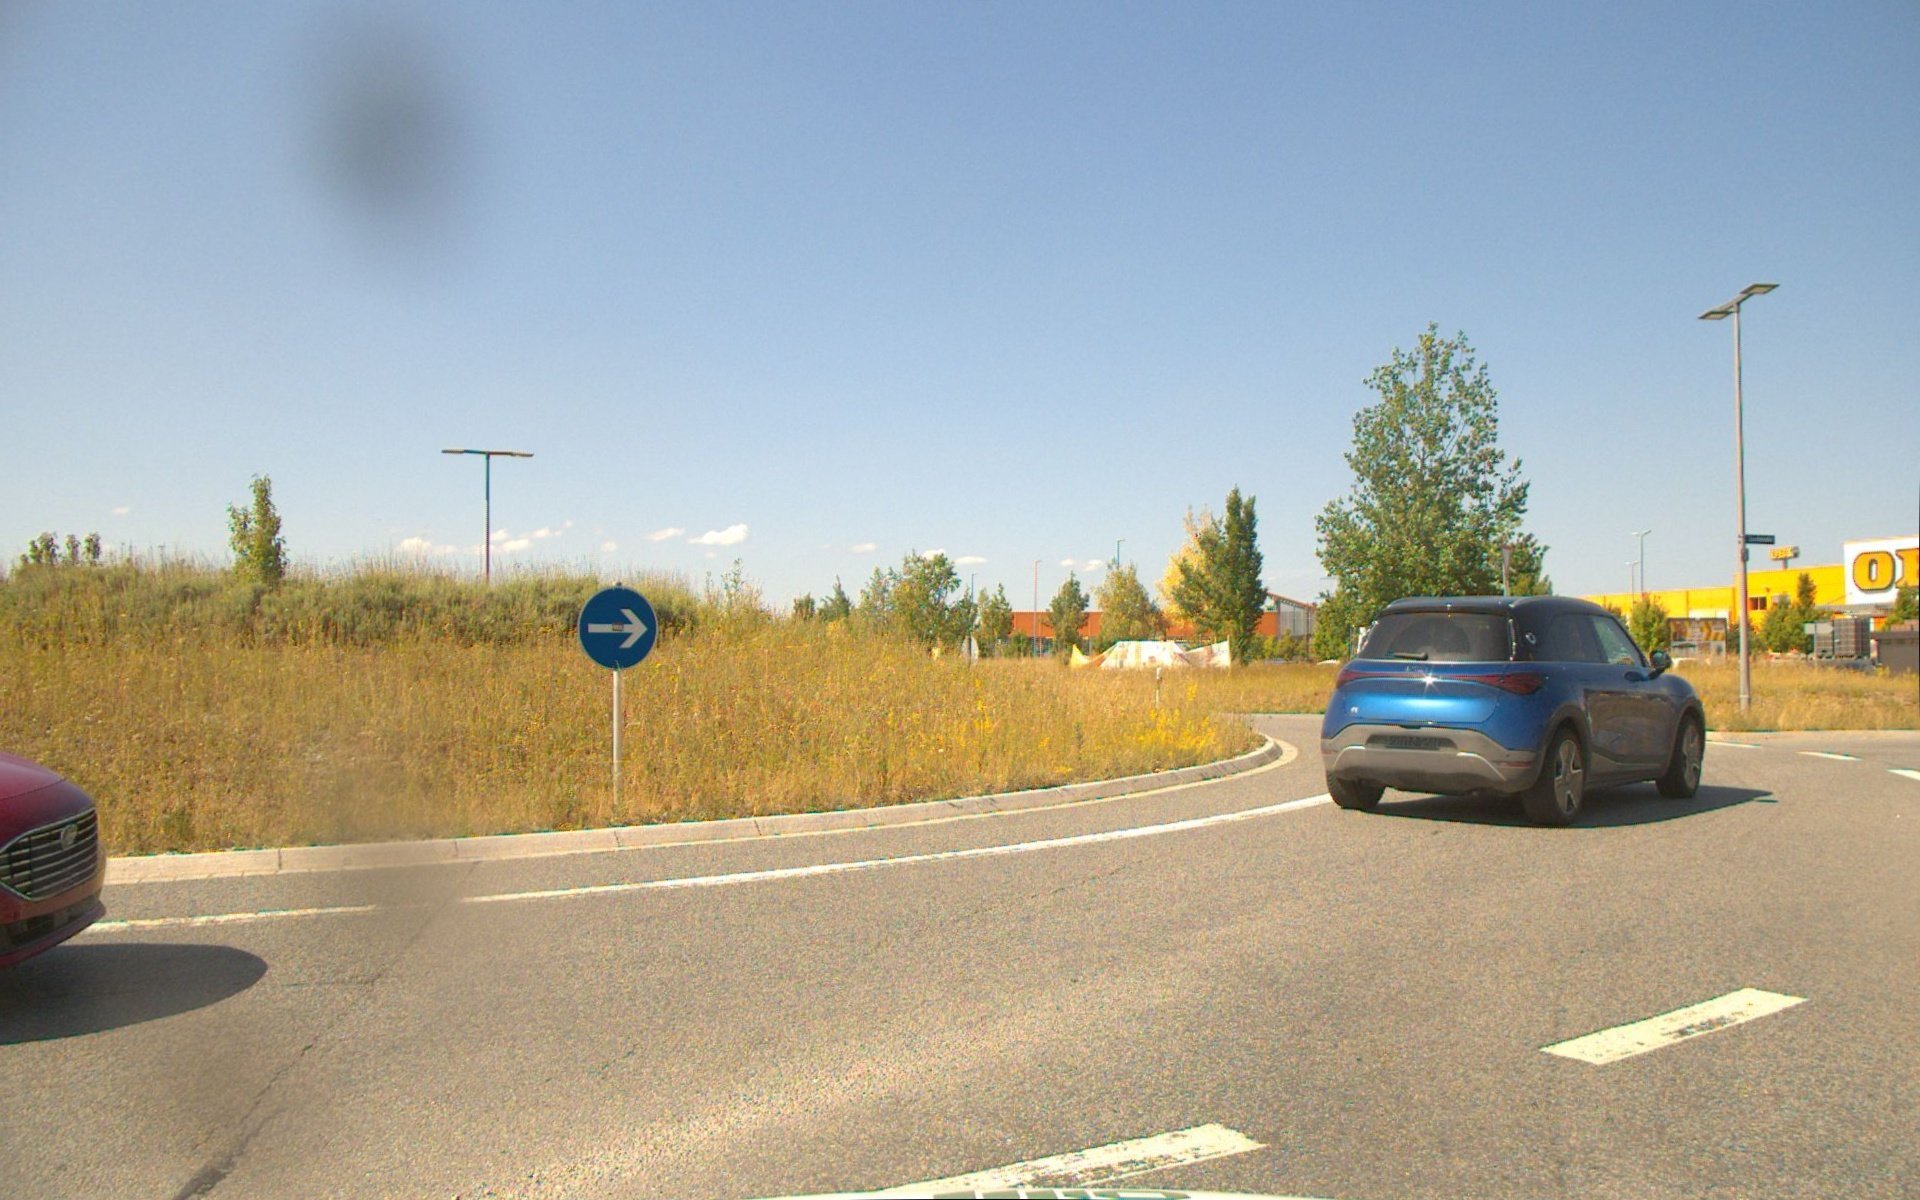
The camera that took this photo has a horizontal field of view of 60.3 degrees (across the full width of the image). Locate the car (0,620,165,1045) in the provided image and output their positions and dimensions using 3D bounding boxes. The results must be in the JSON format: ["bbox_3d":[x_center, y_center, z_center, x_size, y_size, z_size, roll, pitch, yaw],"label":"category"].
[{"bbox_3d":[-5.342,0.826,6.008,4.025,1.441,1.806,-1,-1,-7],"label":"car"}]

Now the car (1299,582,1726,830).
[{"bbox_3d":[4.537,0.741,13.234,1.823,1.664,4.056,-1,-1,41],"label":"car"}]
